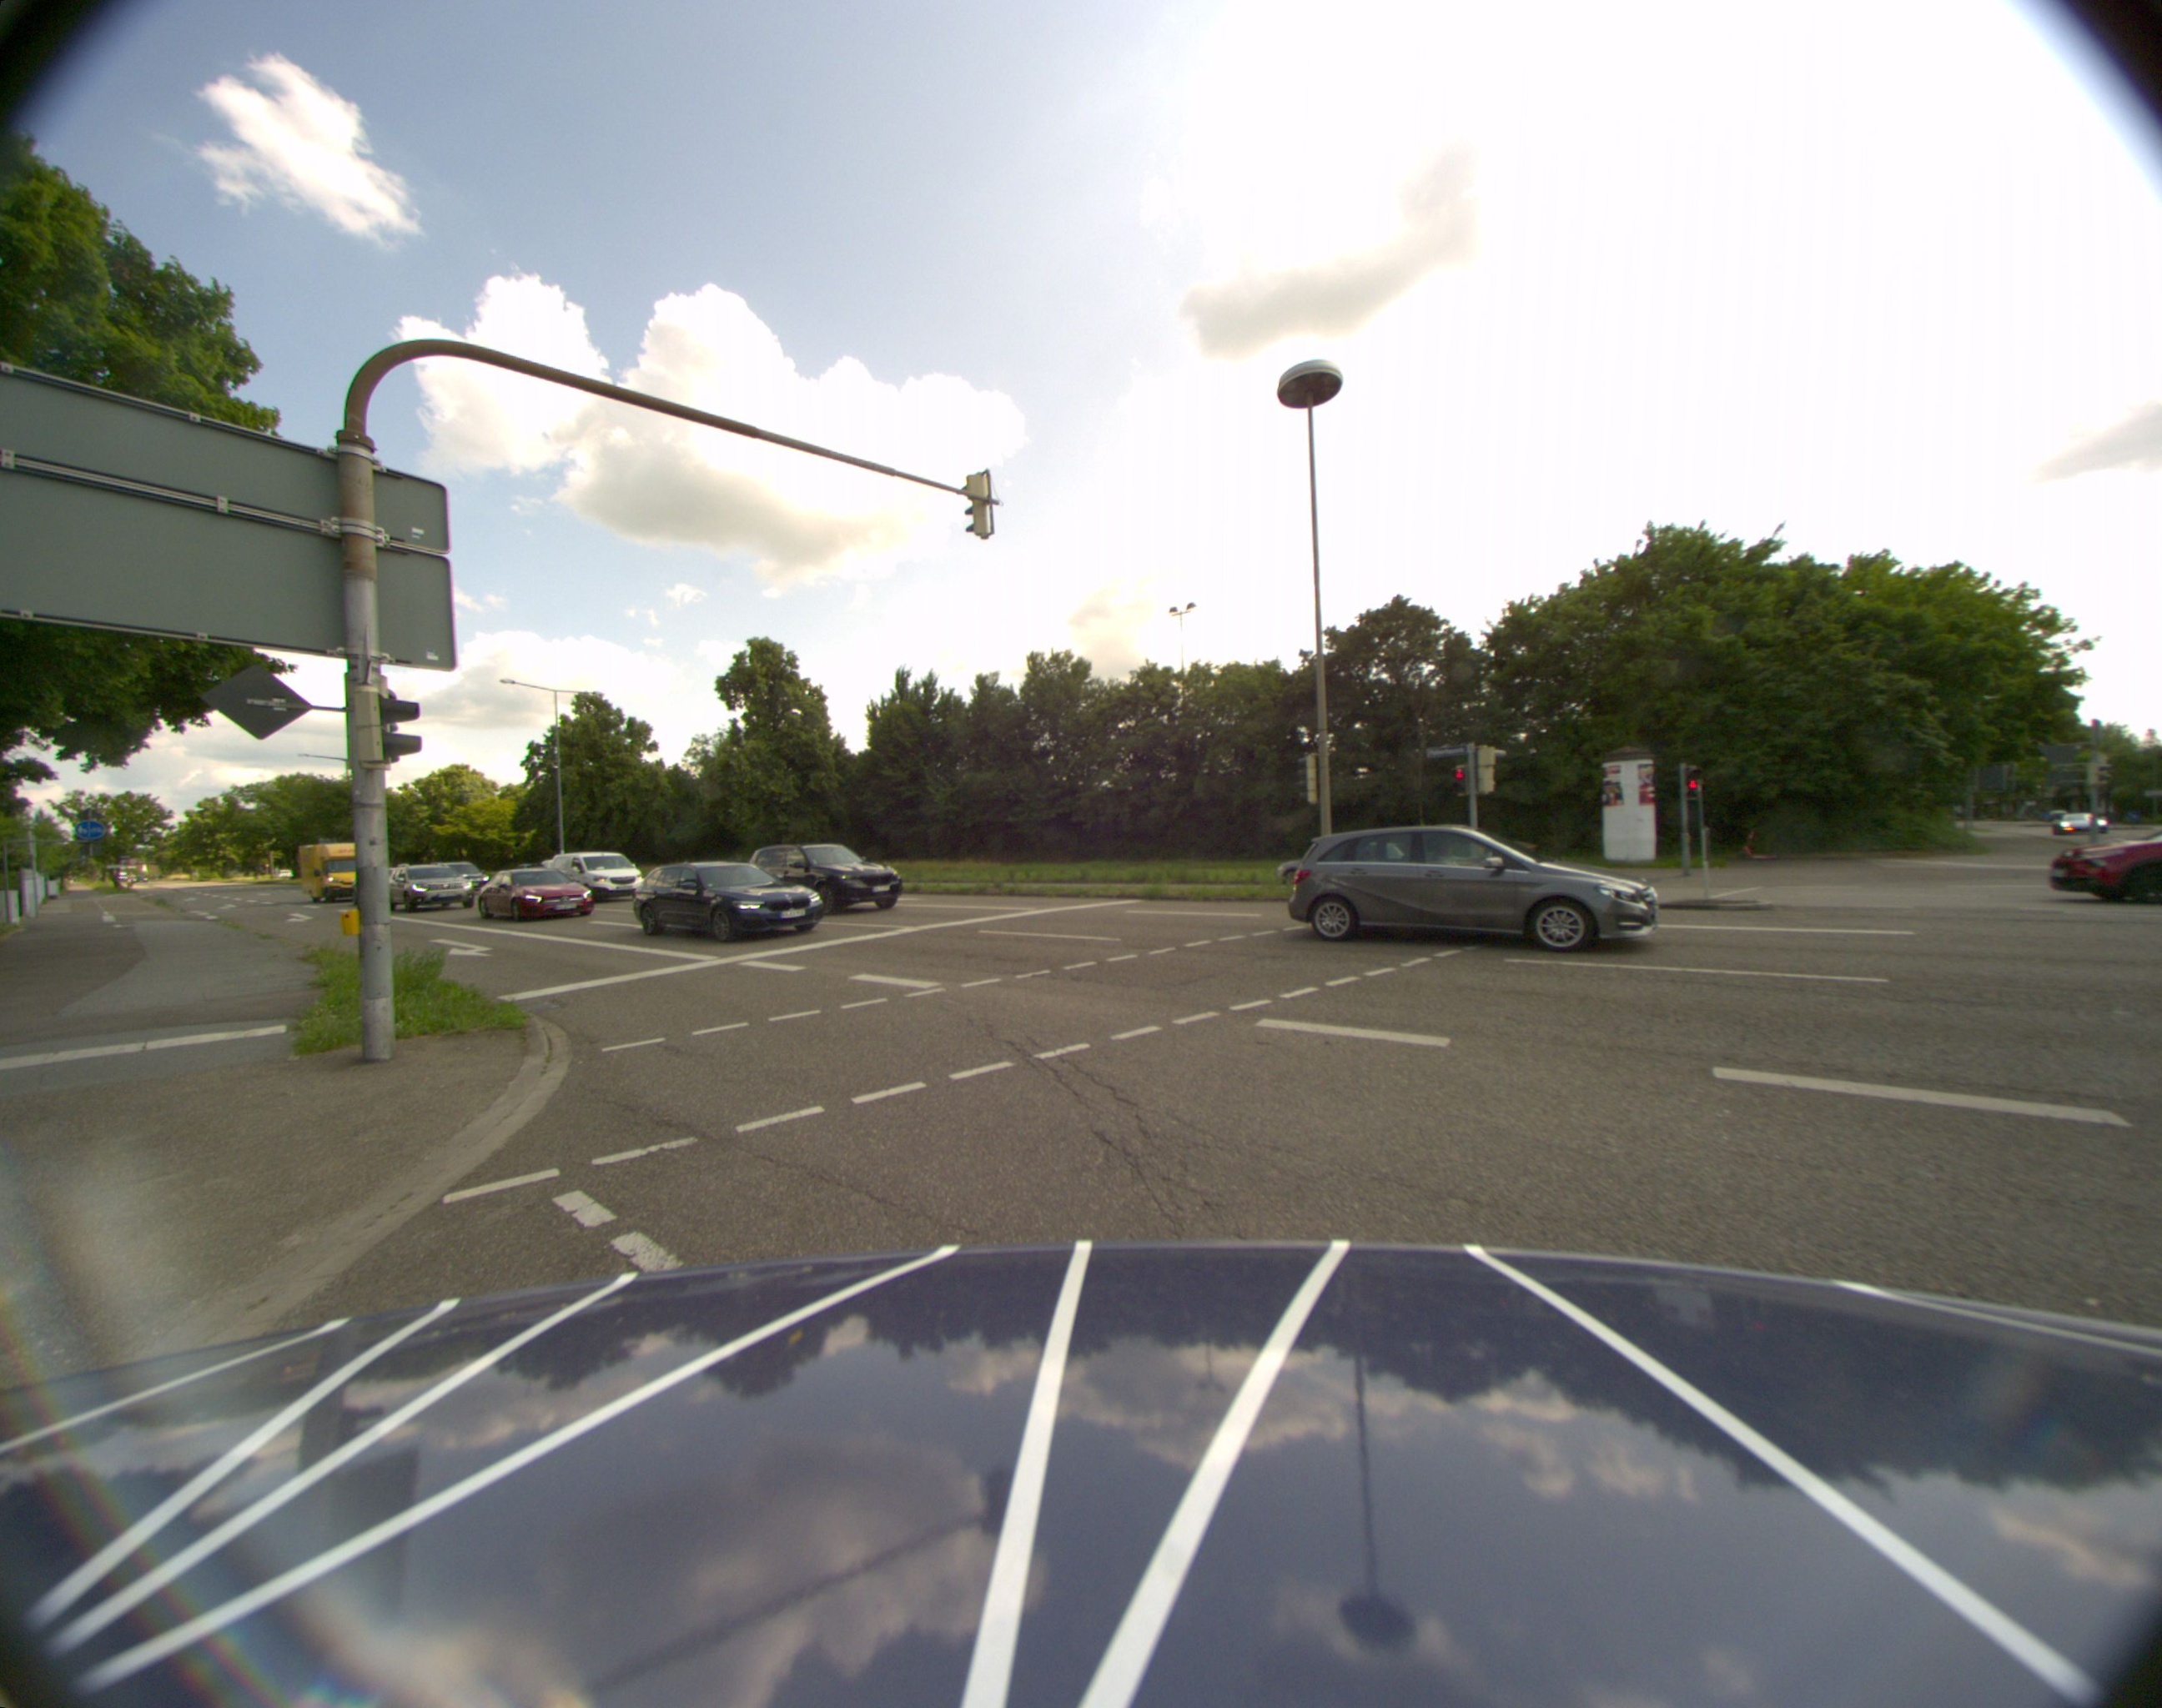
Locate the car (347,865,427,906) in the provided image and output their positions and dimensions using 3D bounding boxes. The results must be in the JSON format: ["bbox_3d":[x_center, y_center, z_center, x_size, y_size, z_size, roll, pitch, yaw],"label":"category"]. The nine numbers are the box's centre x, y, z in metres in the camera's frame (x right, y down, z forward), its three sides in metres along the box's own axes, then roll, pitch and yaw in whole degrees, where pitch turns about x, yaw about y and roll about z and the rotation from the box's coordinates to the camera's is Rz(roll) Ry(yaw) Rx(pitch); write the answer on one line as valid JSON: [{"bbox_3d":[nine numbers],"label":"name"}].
[{"bbox_3d":[-29.578,1.303,32.350,3.882,1.522,1.731,0,4,37],"label":"car"}]

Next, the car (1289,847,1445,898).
[{"bbox_3d":[8.519,0.546,22.768,4.070,1.365,1.602,-1,1,35],"label":"car"}]

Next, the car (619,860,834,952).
[{"bbox_3d":[-7.274,0.925,15.371,4.859,1.489,1.805,0,4,37],"label":"car"}]

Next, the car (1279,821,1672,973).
[{"bbox_3d":[5.069,0.469,10.088,4.347,1.610,1.707,-1,2,37],"label":"car"}]

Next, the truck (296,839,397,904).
[{"bbox_3d":[-36.443,0.822,37.618,6.946,2.844,2.369,-1,3,37],"label":"truck"}]

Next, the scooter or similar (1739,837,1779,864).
[{"bbox_3d":[24.163,-0.138,27.090,1.033,0.937,0.297,0,5,44],"label":"scooter or similar"}]

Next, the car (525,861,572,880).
[{"bbox_3d":[-38.024,1.162,54.221,3.683,1.300,1.762,0,0,38],"label":"car"}]

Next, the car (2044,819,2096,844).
[{"bbox_3d":[63.604,-1.465,48.910,4.006,1.421,1.726,-5,4,-42],"label":"car"}]

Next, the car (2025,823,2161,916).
[{"bbox_3d":[18.659,0.200,11.956,4.443,1.456,1.781,-1,1,35],"label":"car"}]

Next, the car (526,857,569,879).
[{"bbox_3d":[-44.952,1.162,64.025,4.242,1.784,1.679,0,2,37],"label":"car"}]

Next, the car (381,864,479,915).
[{"bbox_3d":[-23.293,1.204,27.159,4.163,1.603,1.731,0,3,37],"label":"car"}]

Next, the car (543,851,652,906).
[{"bbox_3d":[-17.932,0.840,28.089,4.717,1.788,1.774,0,3,37],"label":"car"}]

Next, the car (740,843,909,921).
[{"bbox_3d":[-6.667,0.650,19.532,4.536,1.736,1.822,0,3,37],"label":"car"}]

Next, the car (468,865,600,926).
[{"bbox_3d":[-15.757,1.110,21.804,4.522,1.454,1.731,-1,4,37],"label":"car"}]
